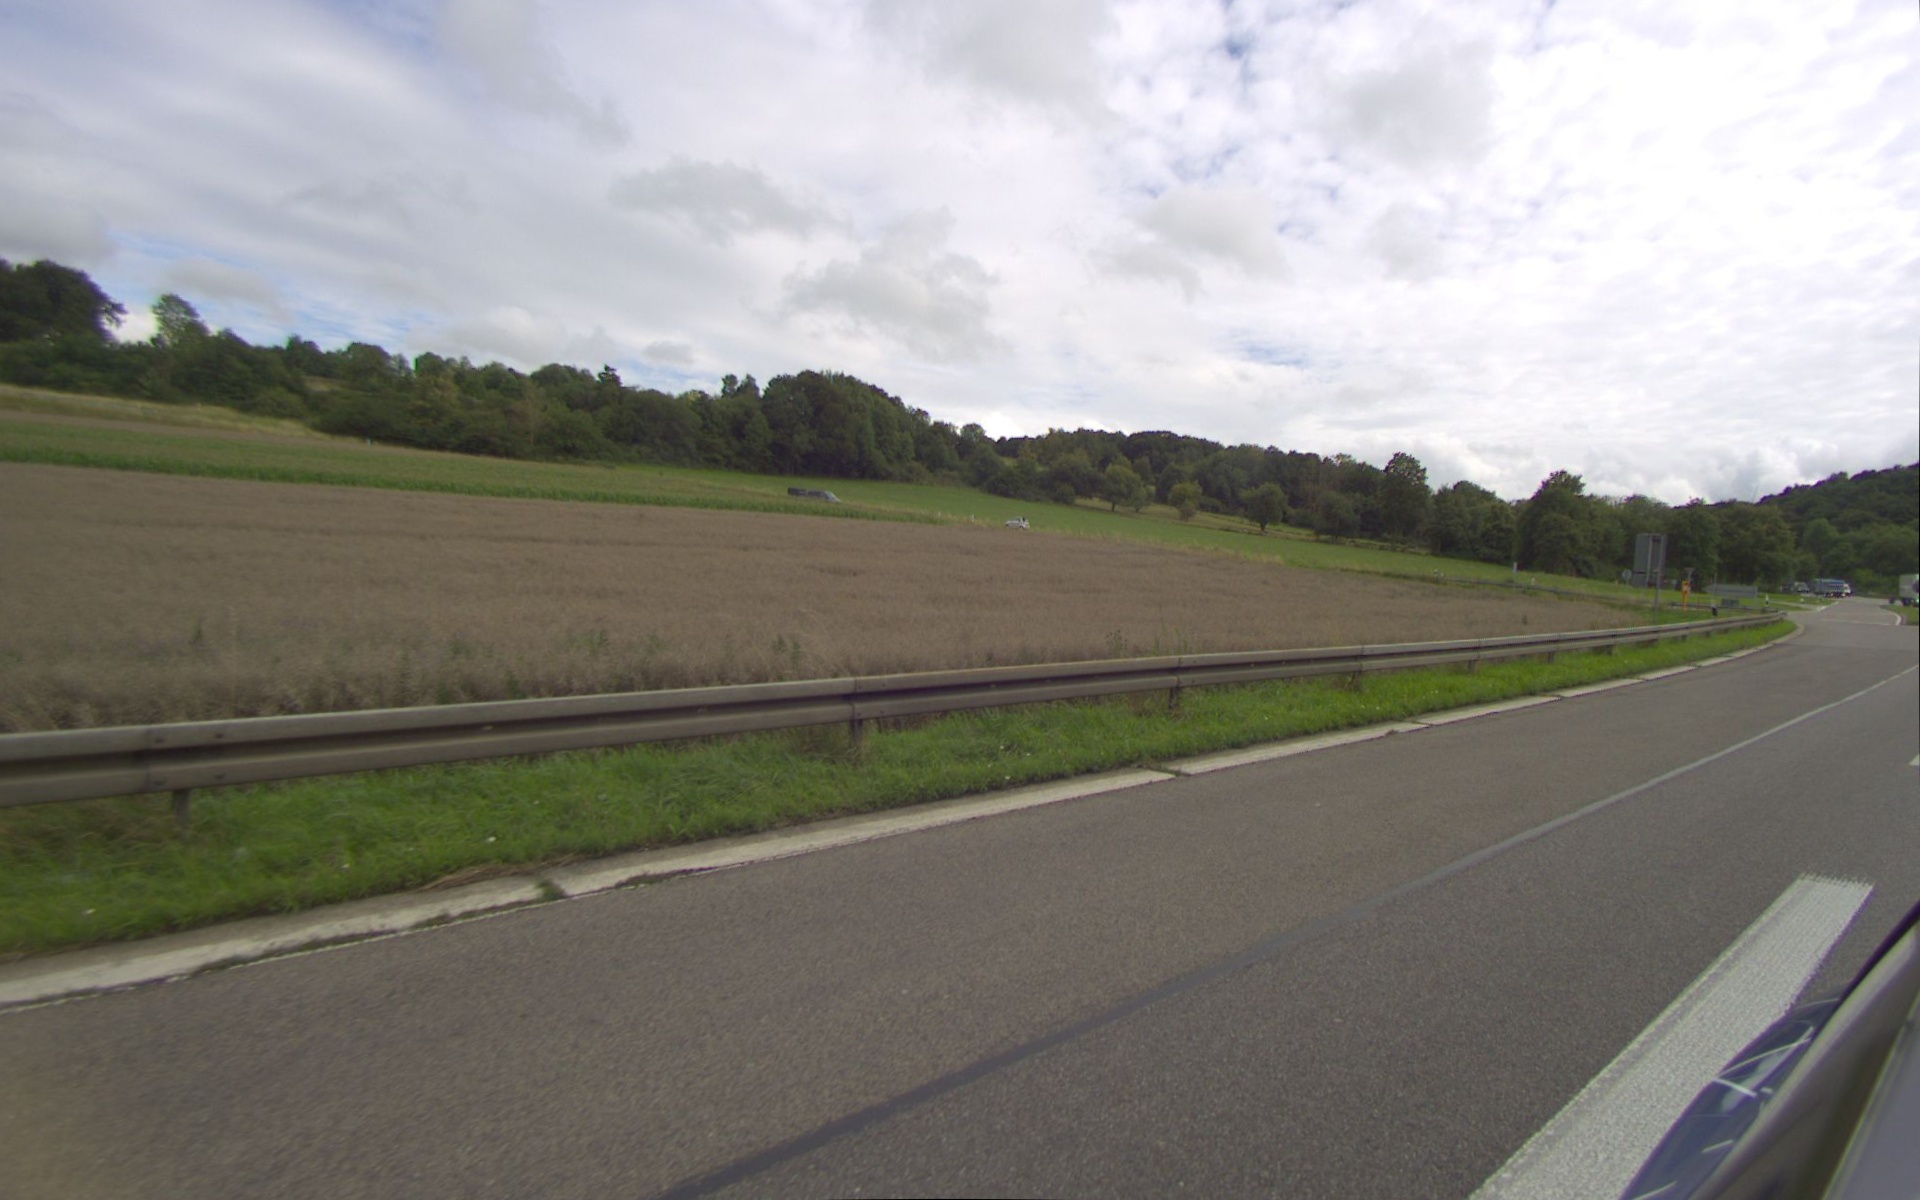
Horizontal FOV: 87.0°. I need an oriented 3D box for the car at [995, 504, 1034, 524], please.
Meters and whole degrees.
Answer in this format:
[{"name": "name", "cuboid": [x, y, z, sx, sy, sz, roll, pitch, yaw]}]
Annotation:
[{"name": "car", "cuboid": [6.245, -9.856, 115.907, 3.977, 1.569, 1.762, 11, 4, 33]}]
